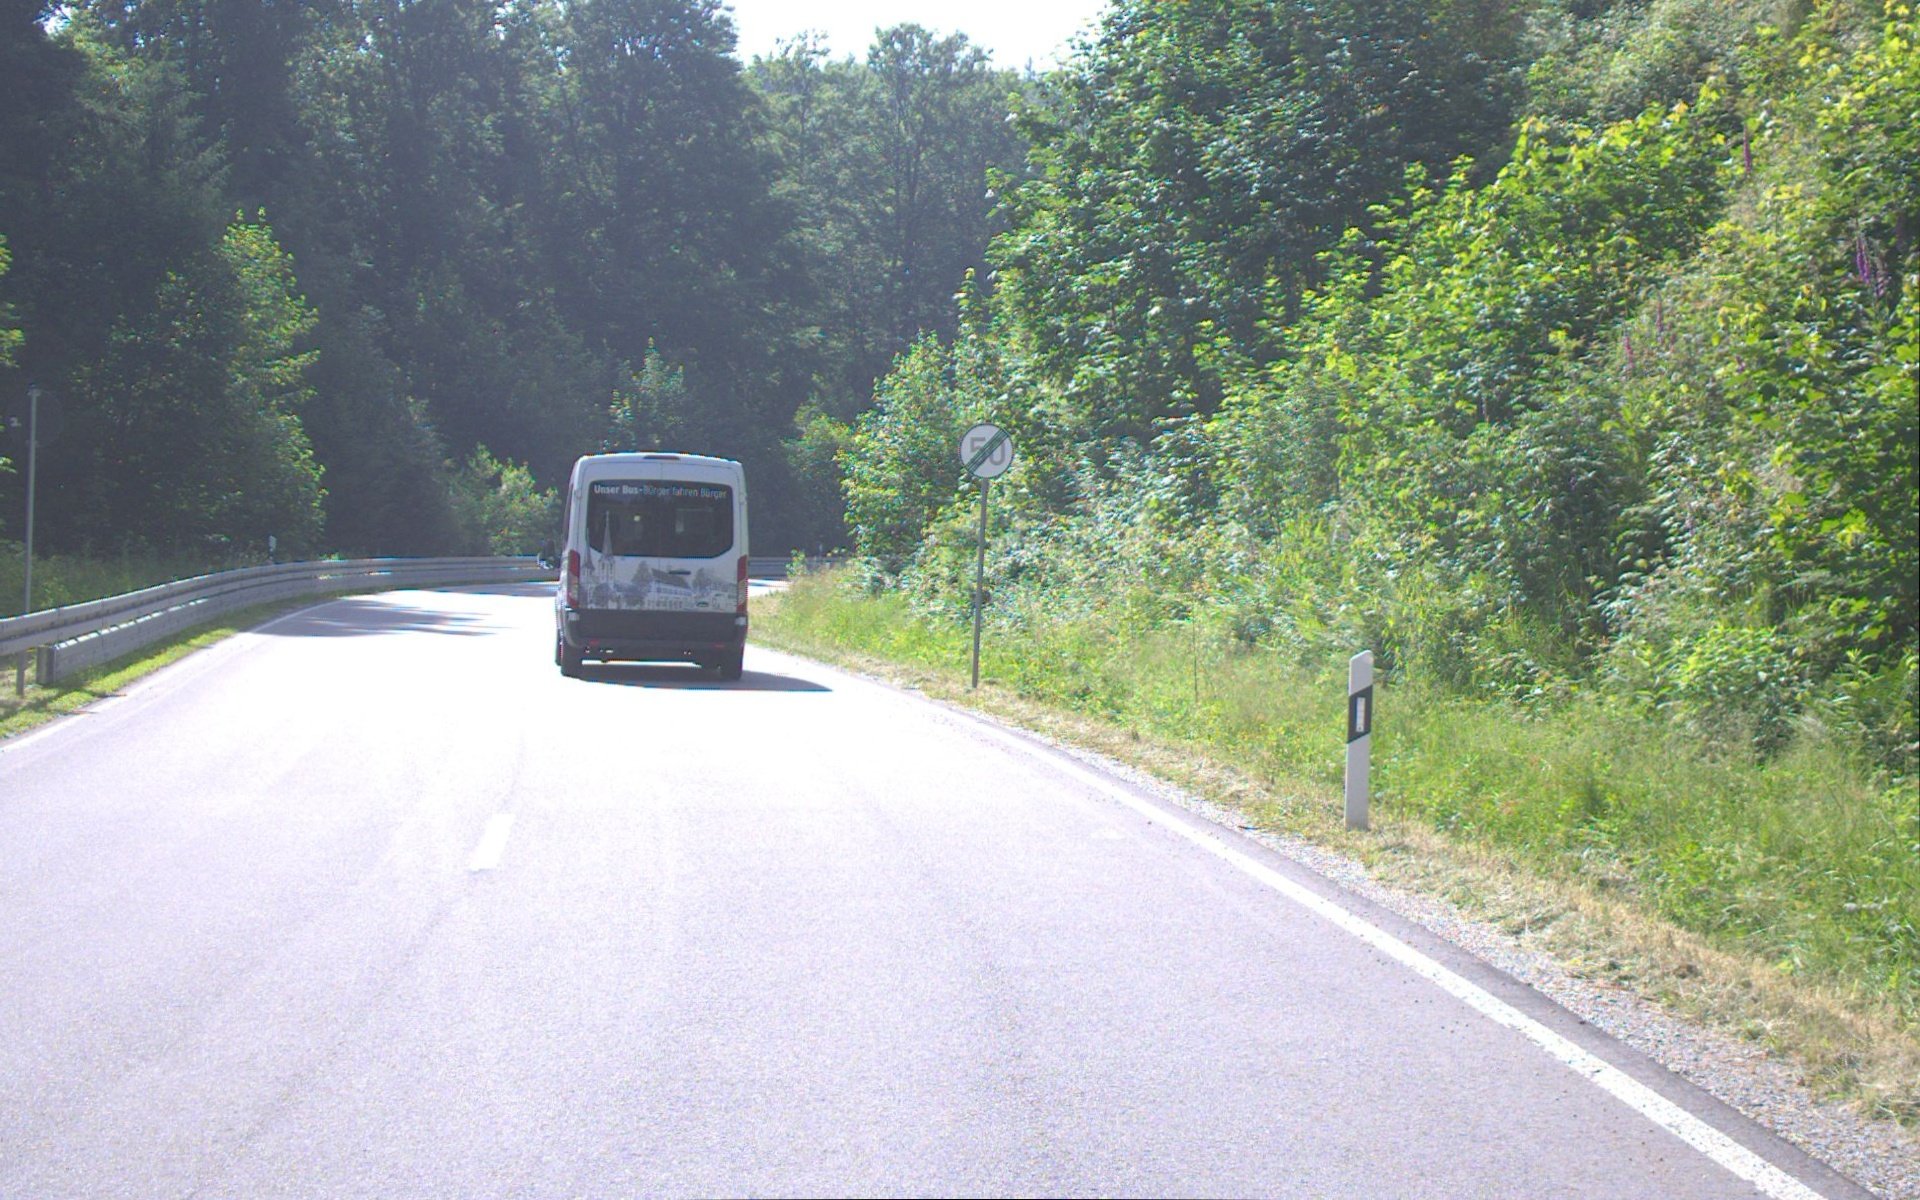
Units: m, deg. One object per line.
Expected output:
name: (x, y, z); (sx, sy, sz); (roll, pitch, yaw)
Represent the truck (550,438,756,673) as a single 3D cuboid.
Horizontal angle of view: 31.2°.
truck: (-3.597, -0.531, 39.443); (2.115, 2.489, 5.361); (1, 1, -7)
